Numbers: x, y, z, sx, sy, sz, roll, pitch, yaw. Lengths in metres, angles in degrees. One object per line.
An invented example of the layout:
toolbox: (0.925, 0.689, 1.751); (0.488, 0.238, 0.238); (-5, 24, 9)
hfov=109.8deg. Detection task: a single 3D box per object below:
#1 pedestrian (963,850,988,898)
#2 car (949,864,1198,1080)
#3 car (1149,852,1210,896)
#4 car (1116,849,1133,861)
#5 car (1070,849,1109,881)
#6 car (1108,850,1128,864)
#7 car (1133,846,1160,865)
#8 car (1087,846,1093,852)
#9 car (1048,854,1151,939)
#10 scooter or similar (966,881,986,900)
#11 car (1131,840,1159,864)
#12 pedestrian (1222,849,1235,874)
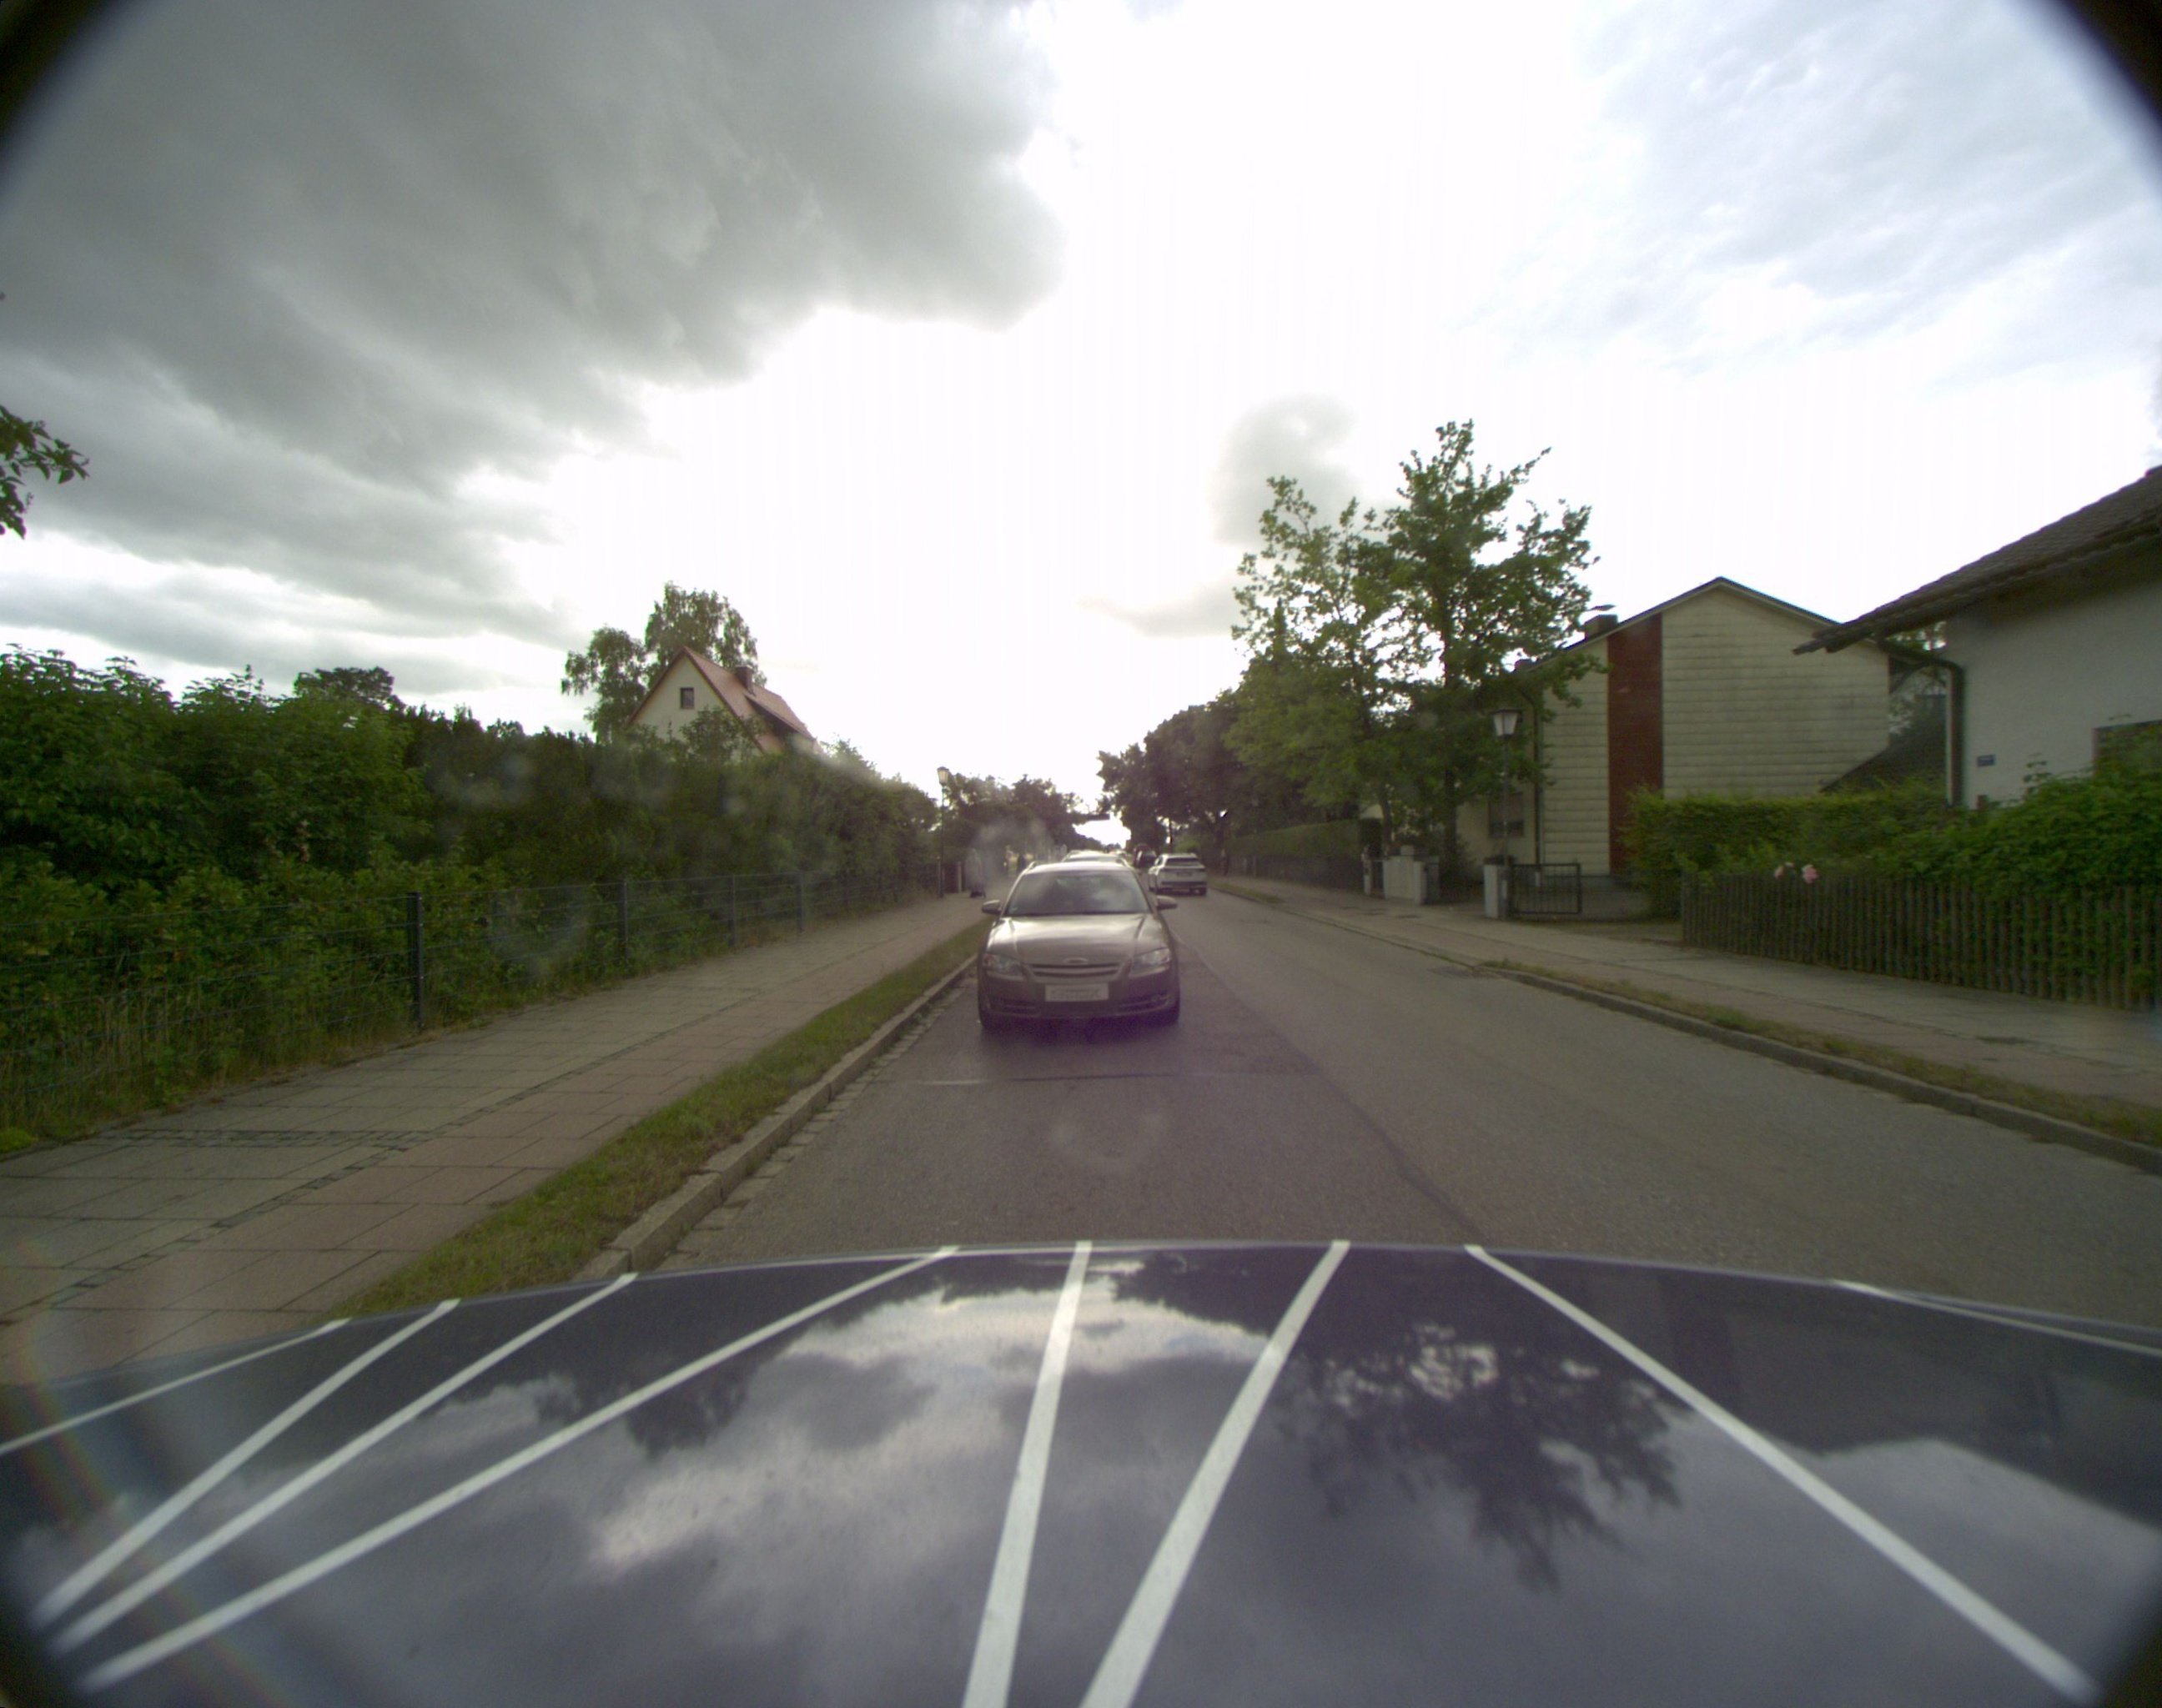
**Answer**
pedestrian: (-3.563, 0.666, 25.671); (0.793, 1.593, 0.671); (0, 1, -7)
car: (-0.038, 0.904, 7.762); (1.809, 1.476, 4.270); (-2, 0, 0)
car: (3.549, 0.680, 28.132); (1.756, 1.475, 4.375); (0, 0, 1)
car: (5.574, 0.118, 97.723); (1.854, 1.576, 4.000); (-1, 0, 1)
car: (0.412, 0.506, 39.235); (1.866, 1.518, 4.122); (-2, 0, 0)
car: (3.792, 0.305, 78.866); (2.029, 1.362, 4.000); (-1, 0, 2)
car: (6.129, 0.136, 71.298); (1.999, 1.740, 3.999); (-1, 0, -2)
car: (2.865, -1.538, 243.058); (1.998, 2.002, 4.000); (-1, 0, 1)
car: (0.361, 0.790, 16.557); (1.866, 1.518, 4.942); (-2, 0, 0)
scooter or similar: (-3.451, 1.200, 24.981); (0.618, 0.553, 0.742); (-1, 0, -5)
car: (6.449, -0.207, 77.167); (2.246, 2.258, 4.469); (-2, 0, -2)
pedestrian: (8.629, 0.431, 44.326); (0.631, 1.429, 0.563); (-1, 1, 1)
